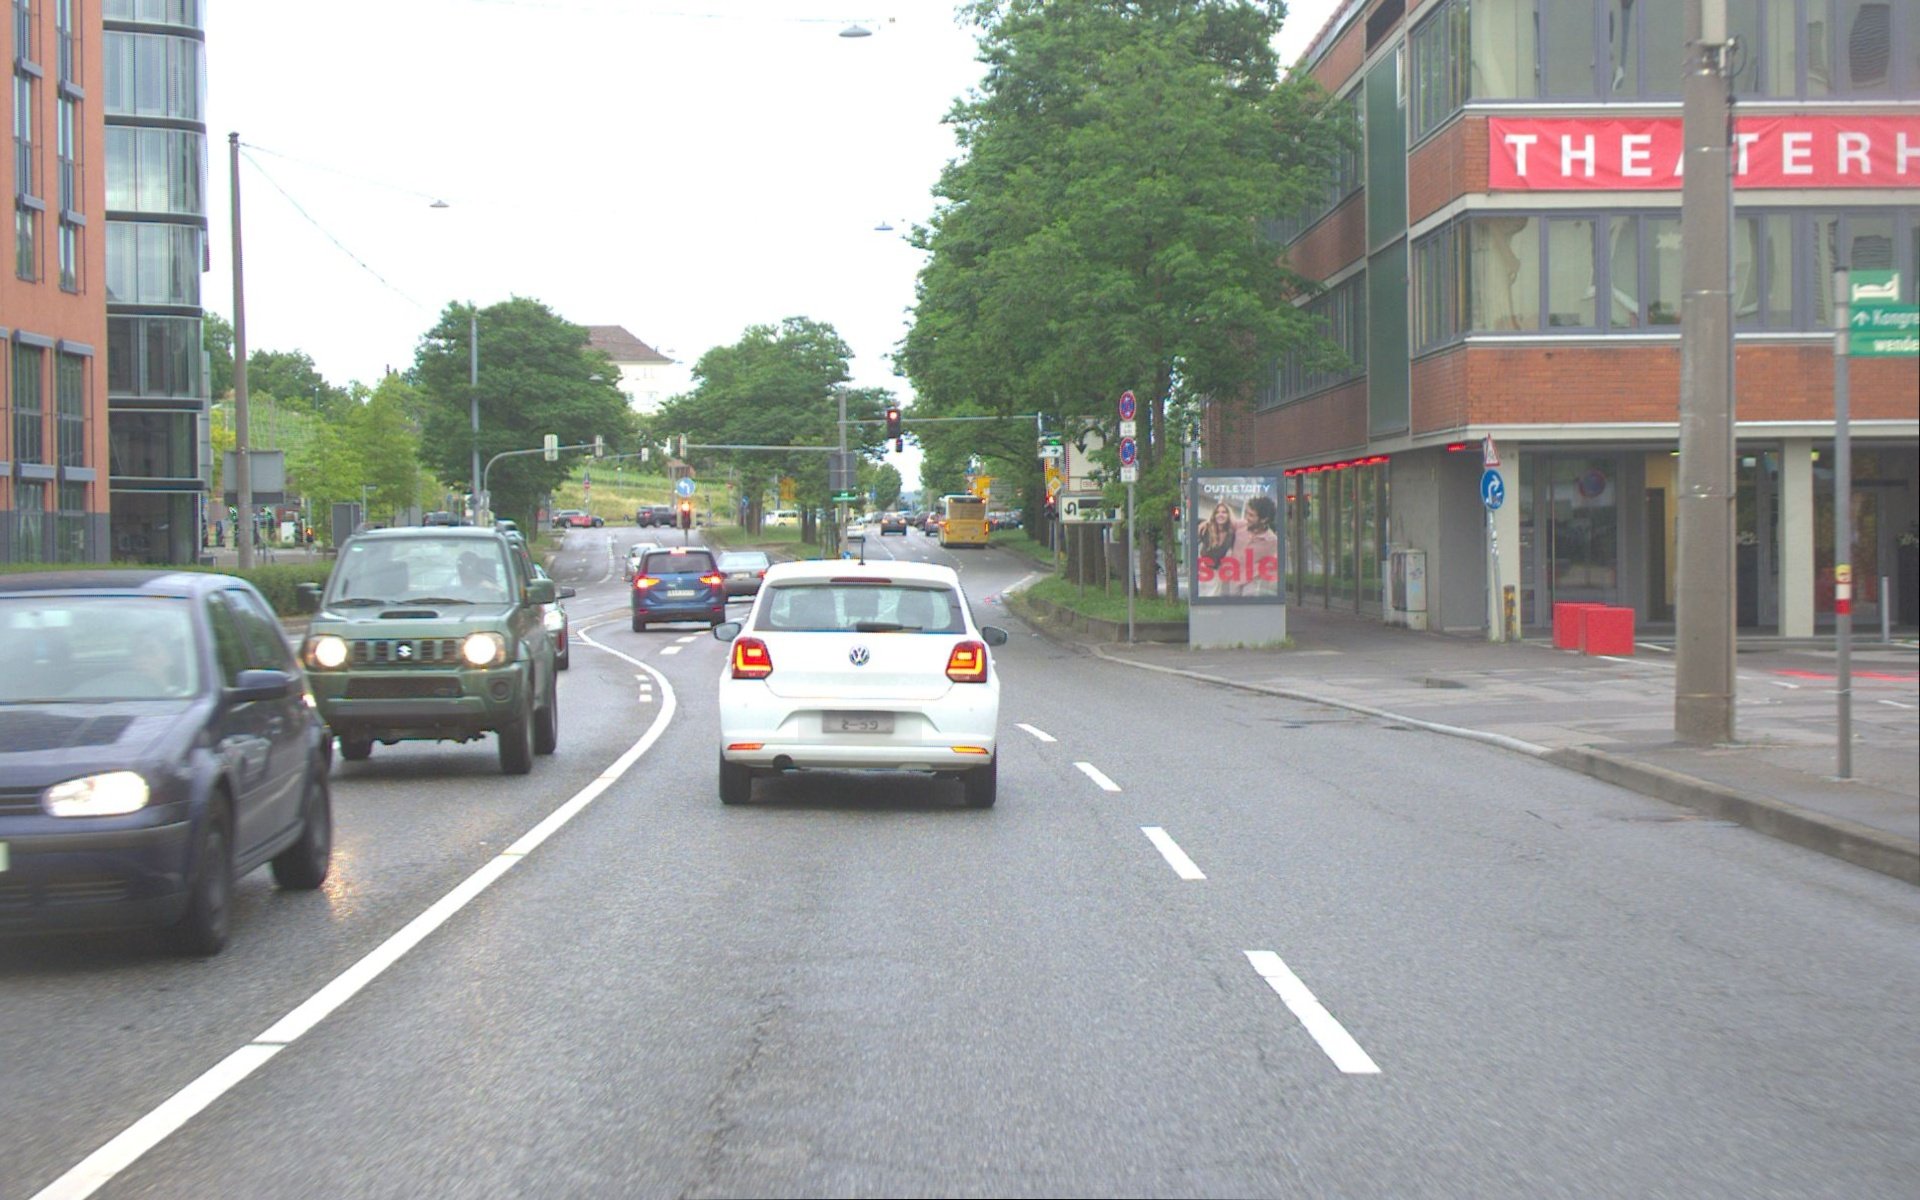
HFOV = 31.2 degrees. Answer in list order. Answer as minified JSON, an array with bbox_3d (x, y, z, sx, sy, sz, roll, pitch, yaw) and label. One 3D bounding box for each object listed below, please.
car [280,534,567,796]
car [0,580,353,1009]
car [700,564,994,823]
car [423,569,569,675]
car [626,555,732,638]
[{"bbox_3d":[-3.689,0.393,24.108,1.503,1.661,3.420,-1,2,-1],"label":"car"},{"bbox_3d":[-3.601,0.670,13.882,1.659,1.481,3.820,0,0,-1],"label":"car"},{"bbox_3d":[-0.680,0.519,21.436,1.671,1.469,3.779,0,0,-1],"label":"car"},{"bbox_3d":[-6.292,0.286,46.923,1.712,1.360,4.000,-1,0,-4],"label":"car"},{"bbox_3d":[-5.491,-0.086,67.467,1.993,1.568,4.001,0,0,-4],"label":"car"}]
